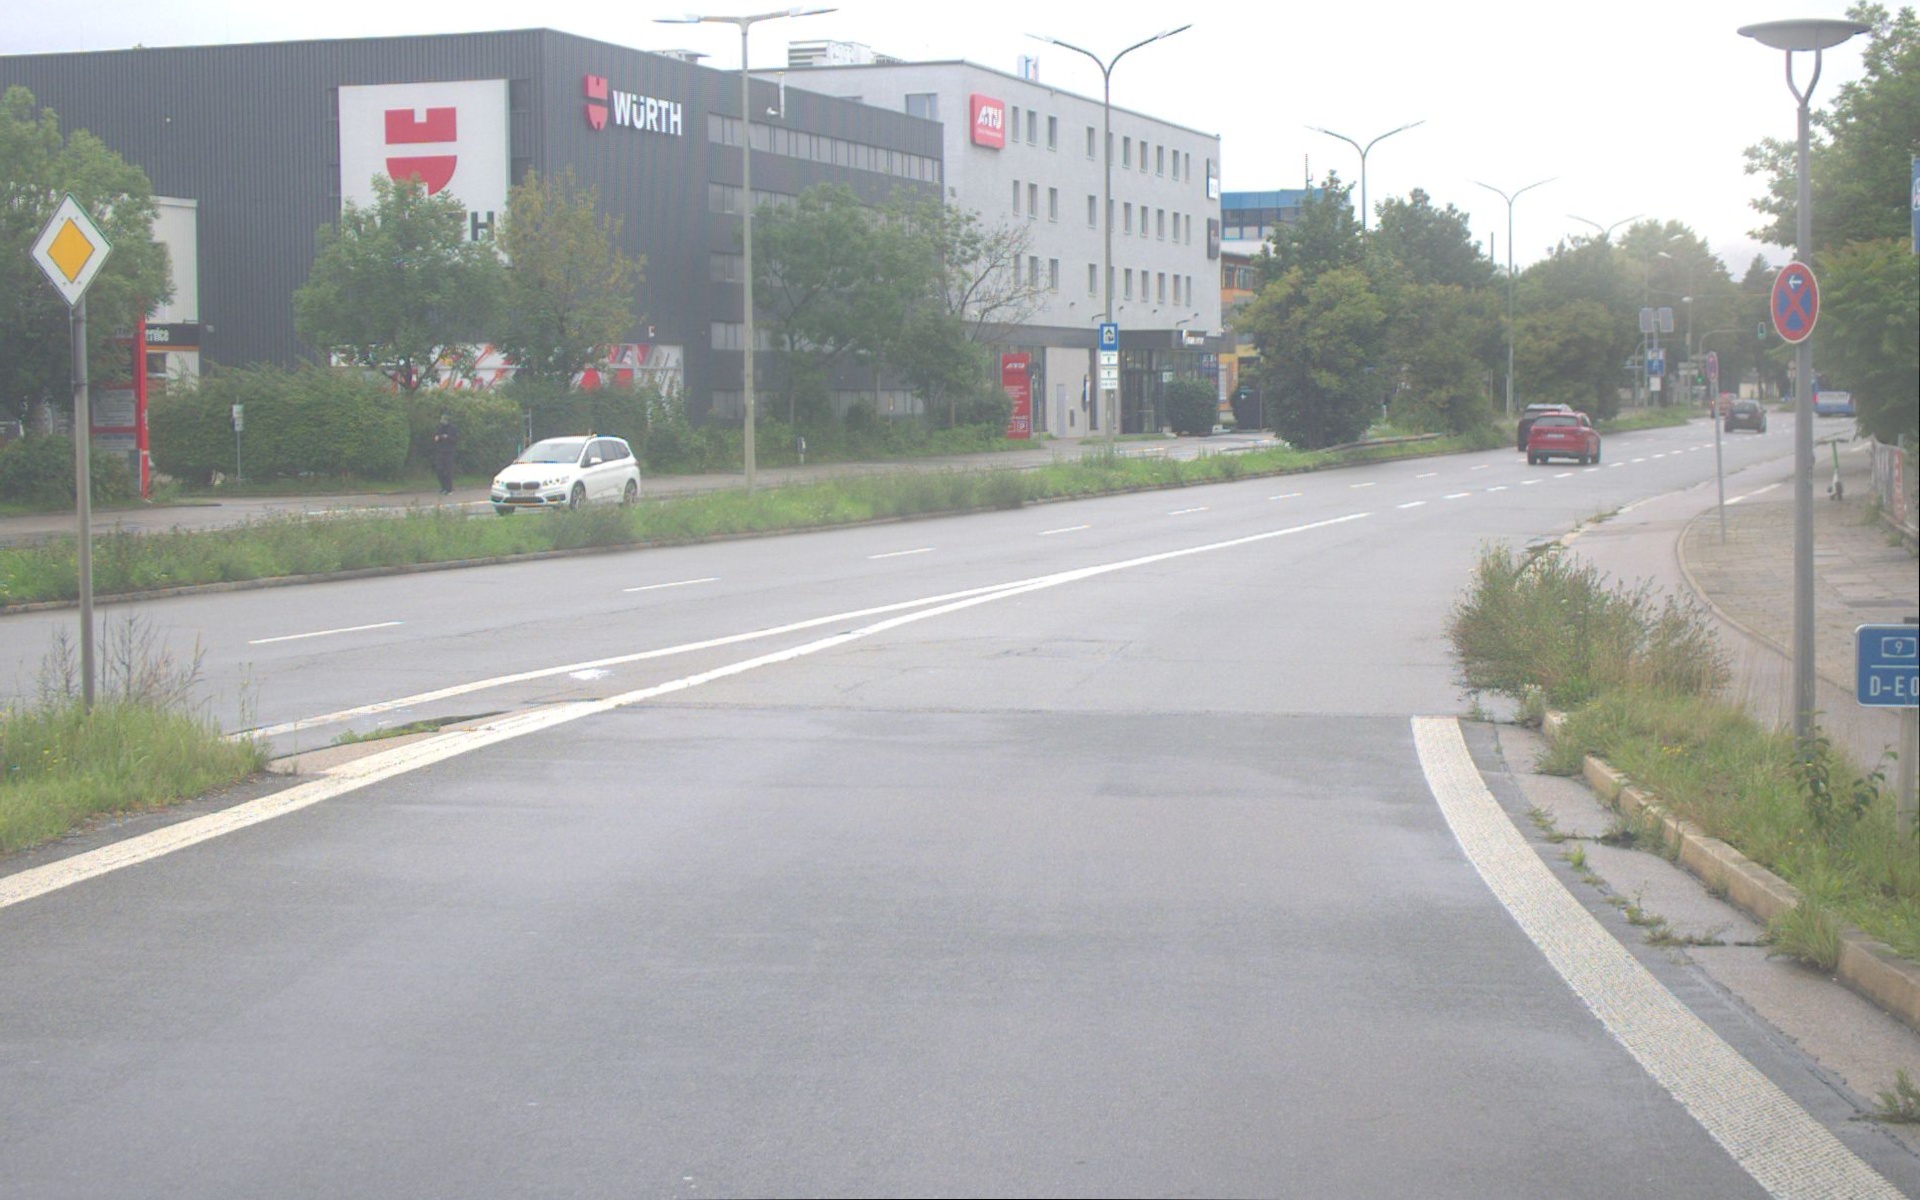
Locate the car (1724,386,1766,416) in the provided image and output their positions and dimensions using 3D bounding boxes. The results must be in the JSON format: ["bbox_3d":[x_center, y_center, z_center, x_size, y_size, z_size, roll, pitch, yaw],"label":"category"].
[{"bbox_3d":[37.826,-9.586,165.613,1.804,1.427,3.998,1,4,16],"label":"car"}]

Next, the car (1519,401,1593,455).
[{"bbox_3d":[18.123,-5.237,104.462,1.863,1.612,3.998,1,3,14],"label":"car"}]

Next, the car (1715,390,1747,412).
[{"bbox_3d":[49.168,-12.696,219.245,1.804,1.427,3.998,1,4,16],"label":"car"}]

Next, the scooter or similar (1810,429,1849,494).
[{"bbox_3d":[16.630,-2.653,65.747,0.397,1.218,1.640,-3,2,4],"label":"scooter or similar"}]

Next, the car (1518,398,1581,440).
[{"bbox_3d":[20.897,-6.438,121.802,1.804,1.427,3.998,0,4,16],"label":"car"}]

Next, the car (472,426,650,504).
[{"bbox_3d":[-8.316,-2.863,72.156,1.995,1.566,4.571,0,3,17],"label":"car"}]

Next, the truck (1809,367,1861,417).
[{"bbox_3d":[58.643,-13.953,230.396,2.971,3.274,7.910,1,4,17],"label":"truck"}]

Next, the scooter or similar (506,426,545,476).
[{"bbox_3d":[-10.792,-3.710,85.358,0.445,1.223,1.386,1,4,16],"label":"scooter or similar"}]

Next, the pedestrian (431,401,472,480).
[{"bbox_3d":[-11.842,-3.720,80.099,0.623,1.823,0.817,1,4,18],"label":"pedestrian"}]
